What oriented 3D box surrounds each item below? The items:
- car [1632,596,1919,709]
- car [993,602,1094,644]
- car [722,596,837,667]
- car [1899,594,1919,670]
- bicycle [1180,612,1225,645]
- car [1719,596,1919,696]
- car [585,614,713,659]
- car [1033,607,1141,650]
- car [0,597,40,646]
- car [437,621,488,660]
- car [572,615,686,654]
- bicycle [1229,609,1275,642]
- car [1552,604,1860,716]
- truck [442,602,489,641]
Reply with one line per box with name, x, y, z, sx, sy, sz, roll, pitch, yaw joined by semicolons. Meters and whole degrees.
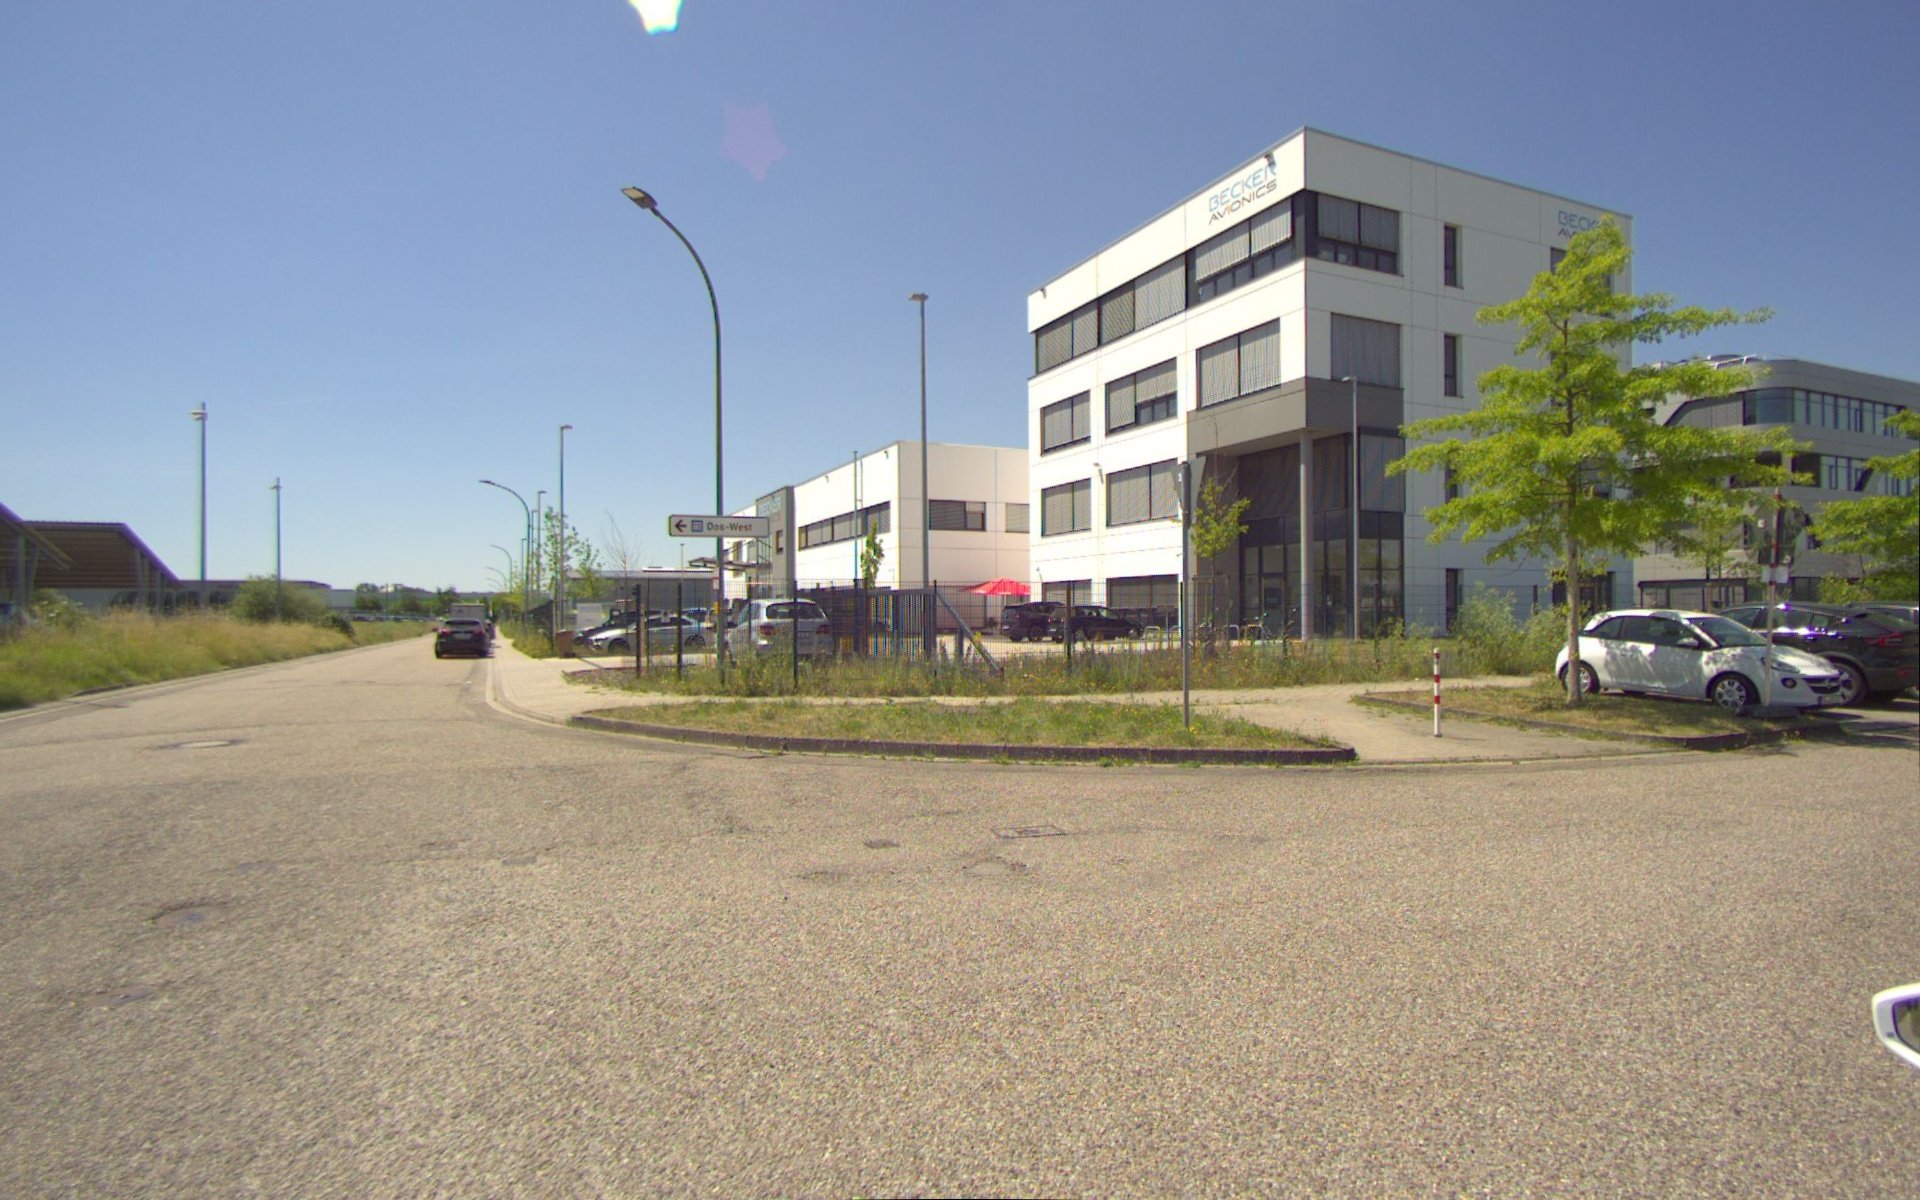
car;13.813;0.758;16.863;1.806;1.615;3.823;0;1;-27
car;3.529;0.950;42.485;3.947;1.706;1.770;0;-1;-26
car;-4.225;0.701;23.159;1.700;1.483;3.658;0;-1;-26
car;21.880;0.688;20.342;1.705;1.613;3.825;0;1;-26
bicycle;7.471;0.877;31.040;0.456;0.995;1.587;0;-1;-26
car;16.039;0.752;17.716;1.704;1.613;3.895;0;1;-25
car;-11.448;1.309;37.004;4.344;1.534;1.689;0;-1;-26
car;5.082;1.122;40.145;3.947;1.623;1.770;0;-1;-26
car;-30.465;0.685;31.316;1.702;1.455;3.749;0;-1;-28
car;-19.136;1.507;38.593;1.676;1.395;3.972;0;-1;-27
car;-13.796;1.418;41.899;4.344;1.534;1.689;0;-1;-26
bicycle;9.220;0.805;31.733;0.456;0.995;1.587;0;-1;-26
car;11.490;0.835;15.731;1.704;1.460;3.494;0;1;-25
truck;-27.101;1.153;54.926;2.140;2.040;5.059;0;-1;-28
